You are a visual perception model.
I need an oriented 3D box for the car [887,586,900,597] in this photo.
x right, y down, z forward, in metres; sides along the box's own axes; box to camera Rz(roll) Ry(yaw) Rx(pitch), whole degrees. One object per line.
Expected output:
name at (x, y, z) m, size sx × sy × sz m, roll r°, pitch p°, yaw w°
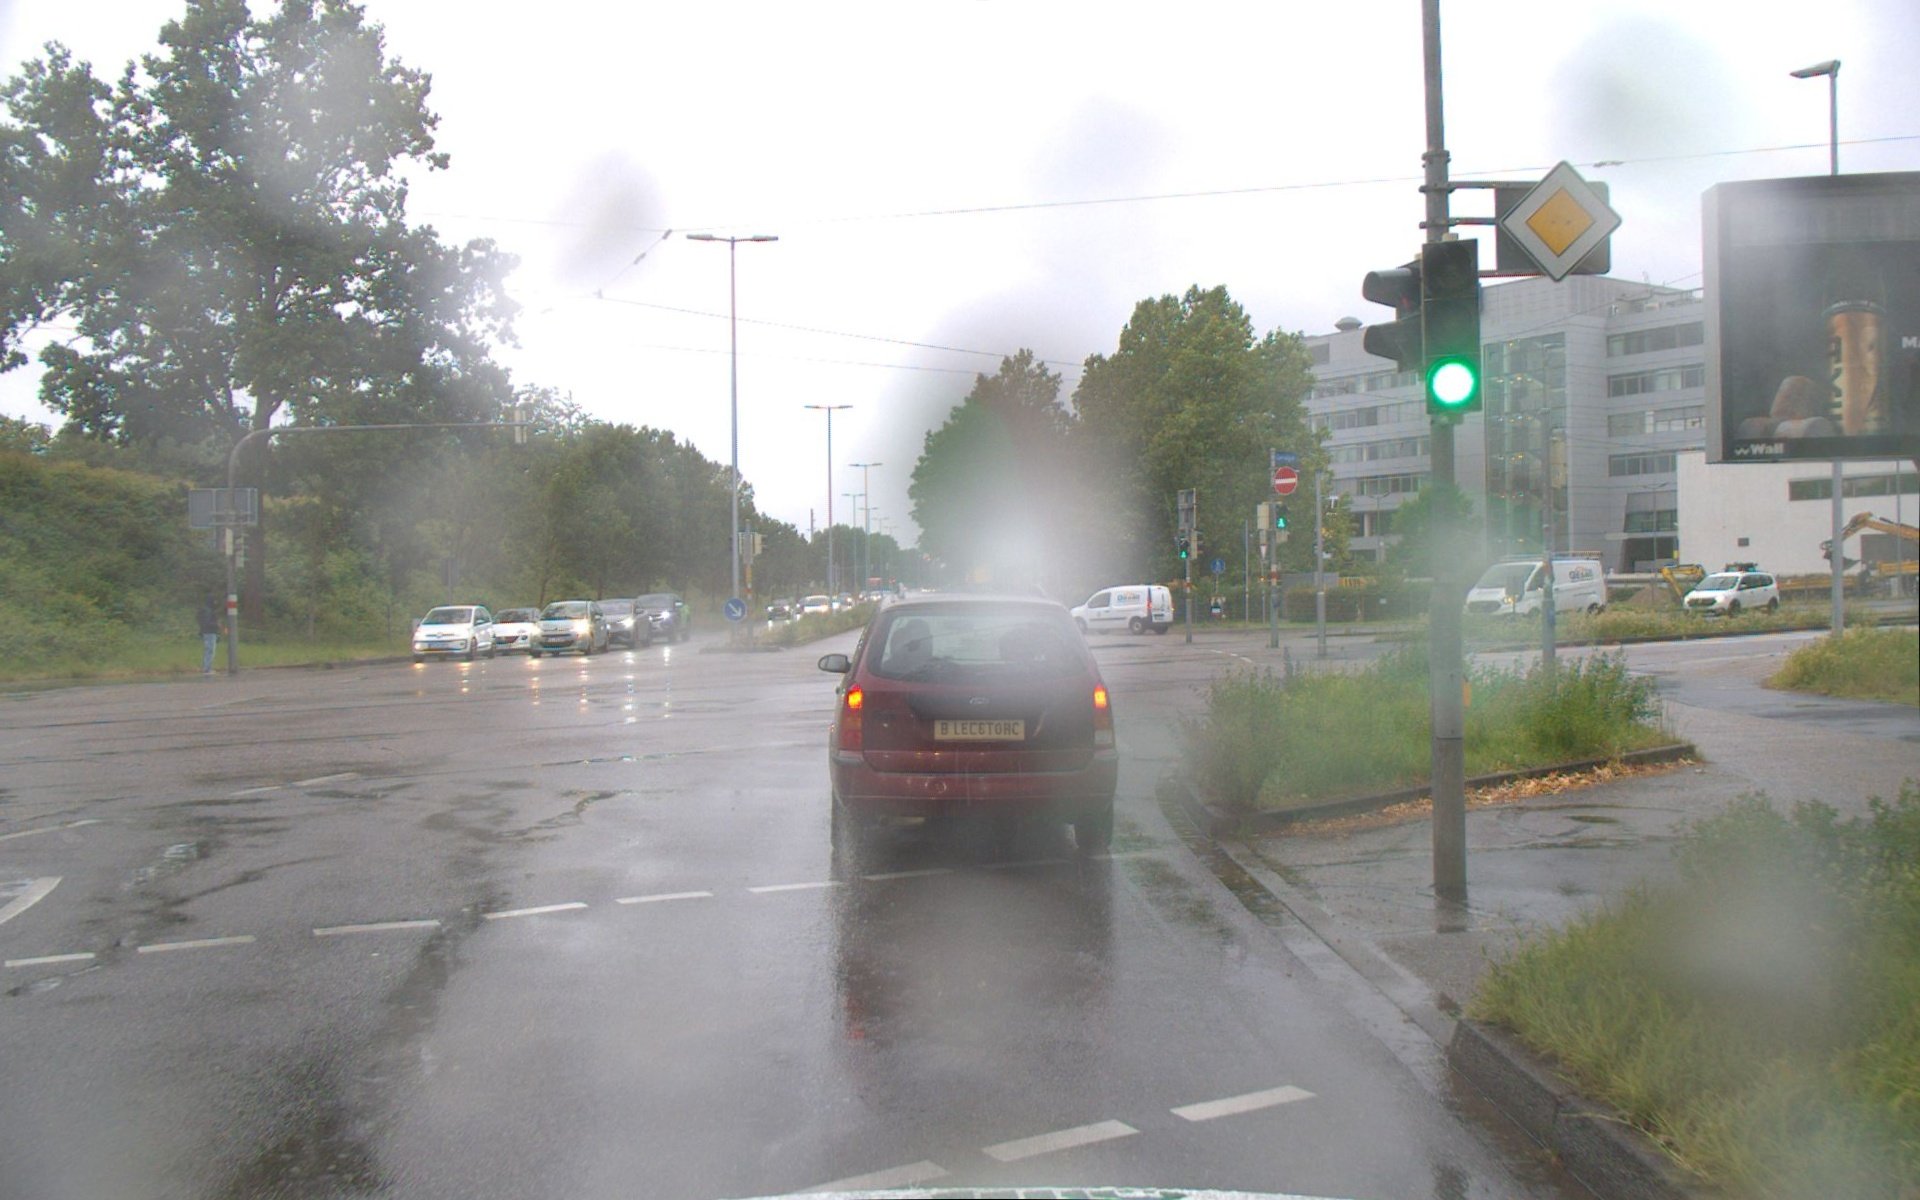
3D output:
car at (-9.511, -1.171, 235.912) m, size 1.663 × 1.554 × 3.846 m, roll -1°, pitch 0°, yaw 1°

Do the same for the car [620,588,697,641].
car at (-11.314, 0.524, 62.386) m, size 2.024 × 1.851 × 5.539 m, roll -2°, pitch 0°, yaw -2°

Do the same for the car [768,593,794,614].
car at (-14.696, 0.276, 135.798) m, size 1.708 × 1.732 × 4.282 m, roll 1°, pitch 0°, yaw -2°

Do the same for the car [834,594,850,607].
car at (-15.010, 0.020, 210.615) m, size 1.923 × 1.625 × 4.282 m, roll -2°, pitch 0°, yaw -2°

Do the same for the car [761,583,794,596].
car at (-25.817, -1.468, 234.366) m, size 4.237 × 1.625 × 1.944 m, roll -2°, pitch 0°, yaw -37°

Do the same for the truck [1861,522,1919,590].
truck at (53.064, -2.416, 88.547) m, size 3.291 × 3.568 × 7.790 m, roll -2°, pitch 0°, yaw -36°

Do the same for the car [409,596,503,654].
car at (-14.002, 0.664, 46.133) m, size 1.605 × 1.478 × 3.785 m, roll -2°, pitch 0°, yaw -3°

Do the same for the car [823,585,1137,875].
car at (0.055, 0.670, 10.494) m, size 1.609 × 1.490 × 3.731 m, roll 1°, pitch 0°, yaw -2°

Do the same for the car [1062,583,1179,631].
car at (6.041, 0.230, 62.580) m, size 4.165 × 1.756 × 1.732 m, roll 1°, pitch 0°, yaw 40°

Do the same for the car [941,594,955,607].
car at (-1.511, 0.049, 213.264) m, size 1.636 × 1.554 × 3.846 m, roll -1°, pitch 0°, yaw 1°

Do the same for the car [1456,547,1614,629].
car at (16.049, -0.329, 46.082) m, size 4.641 × 2.162 × 1.973 m, roll -1°, pitch 0°, yaw -38°

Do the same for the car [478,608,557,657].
car at (-13.988, 1.003, 52.454) m, size 1.558 × 1.428 × 3.822 m, roll -2°, pitch 0°, yaw -2°

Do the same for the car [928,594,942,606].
car at (-3.353, 0.022, 221.627) m, size 1.636 × 1.554 × 3.847 m, roll -1°, pitch 0°, yaw 4°

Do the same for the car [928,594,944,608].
car at (-2.641, 0.077, 185.384) m, size 1.663 × 1.554 × 3.846 m, roll -1°, pitch 0°, yaw 1°

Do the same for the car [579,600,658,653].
car at (-11.150, 0.848, 54.318) m, size 1.727 × 1.614 × 4.811 m, roll -2°, pitch 0°, yaw -2°

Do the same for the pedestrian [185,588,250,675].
pedestrian at (-16.472, 0.689, 36.719) m, size 1.083 × 1.879 × 1.127 m, roll -1°, pitch 0°, yaw -12°

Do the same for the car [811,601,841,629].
car at (-8.721, 0.953, 107.876) m, size 1.709 × 1.732 × 4.282 m, roll -3°, pitch 0°, yaw -2°

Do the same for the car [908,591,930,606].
car at (-4.420, -0.195, 179.078) m, size 2.103 × 1.554 × 4.193 m, roll -1°, pitch 0°, yaw 1°

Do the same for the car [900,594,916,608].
car at (-6.037, 0.105, 193.470) m, size 1.663 × 1.554 × 3.846 m, roll -1°, pitch 0°, yaw 1°

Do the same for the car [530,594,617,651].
car at (-11.007, 0.603, 47.329) m, size 1.605 × 1.499 × 3.964 m, roll -2°, pitch 0°, yaw -1°

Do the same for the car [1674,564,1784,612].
car at (27.614, -0.440, 59.320) m, size 4.335 × 1.649 × 1.753 m, roll -1°, pitch 0°, yaw -37°

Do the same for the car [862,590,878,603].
car at (-12.324, -0.494, 226.511) m, size 1.923 × 1.625 × 4.283 m, roll -2°, pitch 0°, yaw -1°

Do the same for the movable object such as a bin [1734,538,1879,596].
movable object such as a bin at (48.620, -1.871, 95.164) m, size 3.292 × 3.048 × 6.635 m, roll -2°, pitch 0°, yaw -36°
